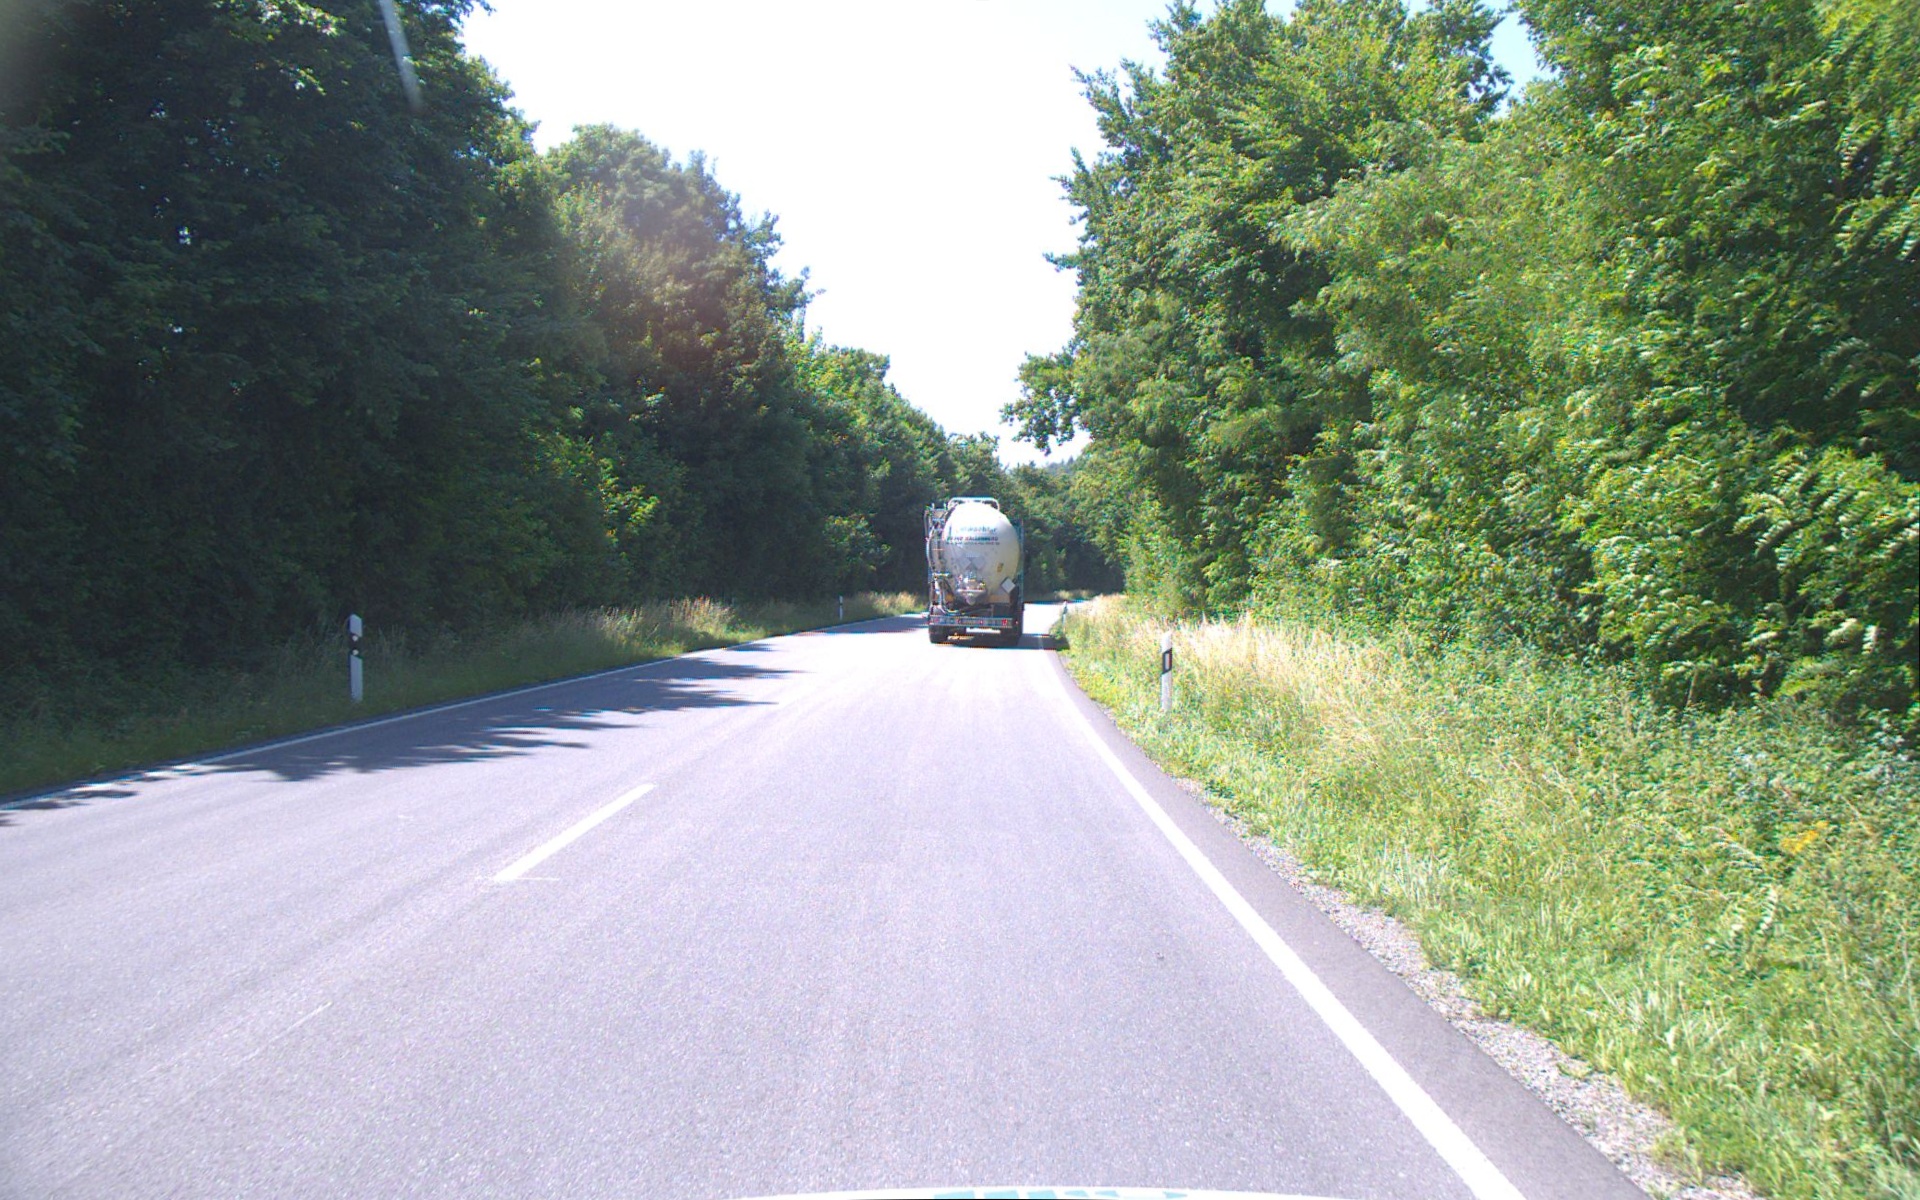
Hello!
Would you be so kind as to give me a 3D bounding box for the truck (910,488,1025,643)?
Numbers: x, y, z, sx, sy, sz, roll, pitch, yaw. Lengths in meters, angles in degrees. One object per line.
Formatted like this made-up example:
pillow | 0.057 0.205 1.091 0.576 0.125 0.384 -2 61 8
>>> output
truck | 0.456 -0.977 51.176 2.986 4.068 15.641 0 1 2
